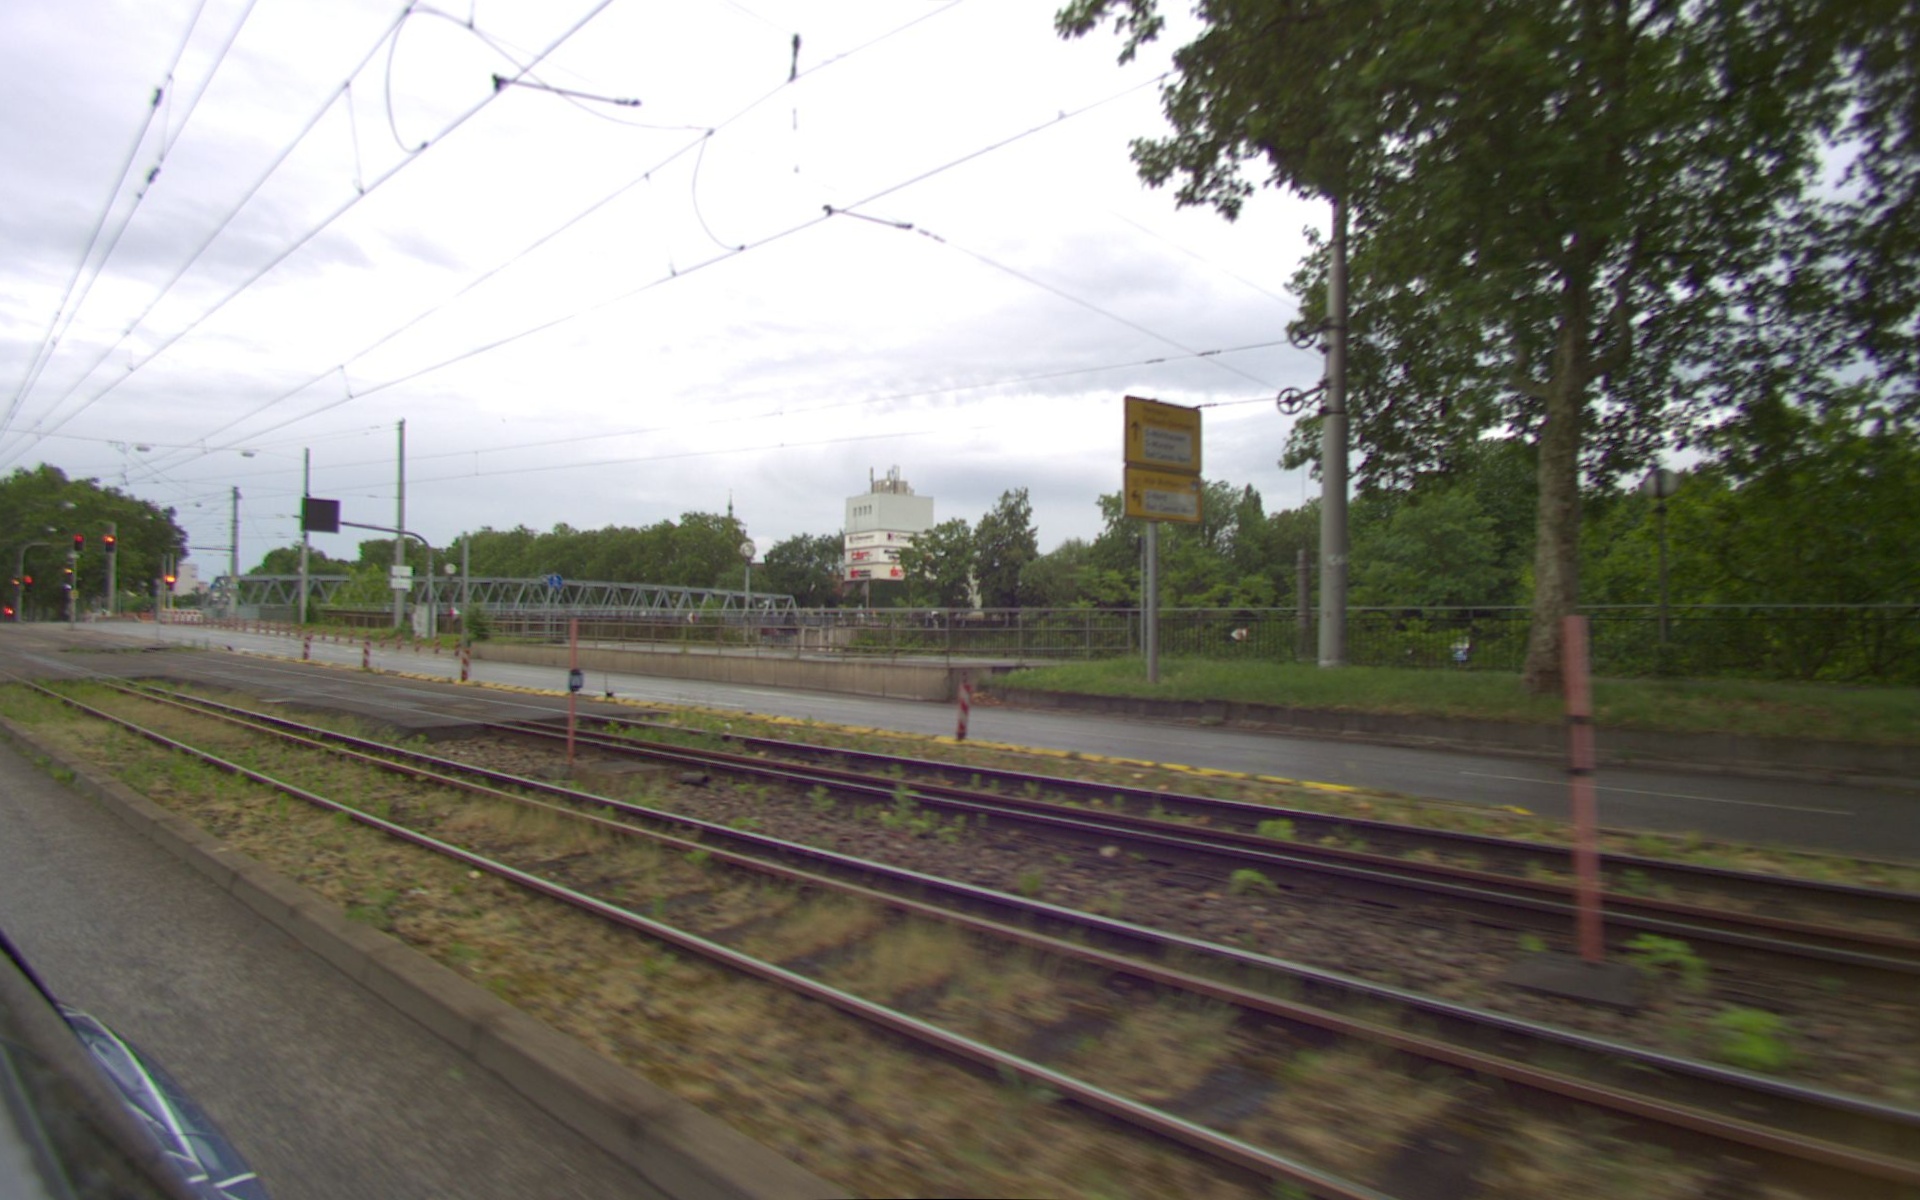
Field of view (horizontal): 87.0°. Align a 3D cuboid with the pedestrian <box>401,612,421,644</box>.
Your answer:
[{"bbox_3d":[-29.965,1.523,55.201,0.618,1.700,0.756,-1,-2,40],"label":"pedestrian"}]
